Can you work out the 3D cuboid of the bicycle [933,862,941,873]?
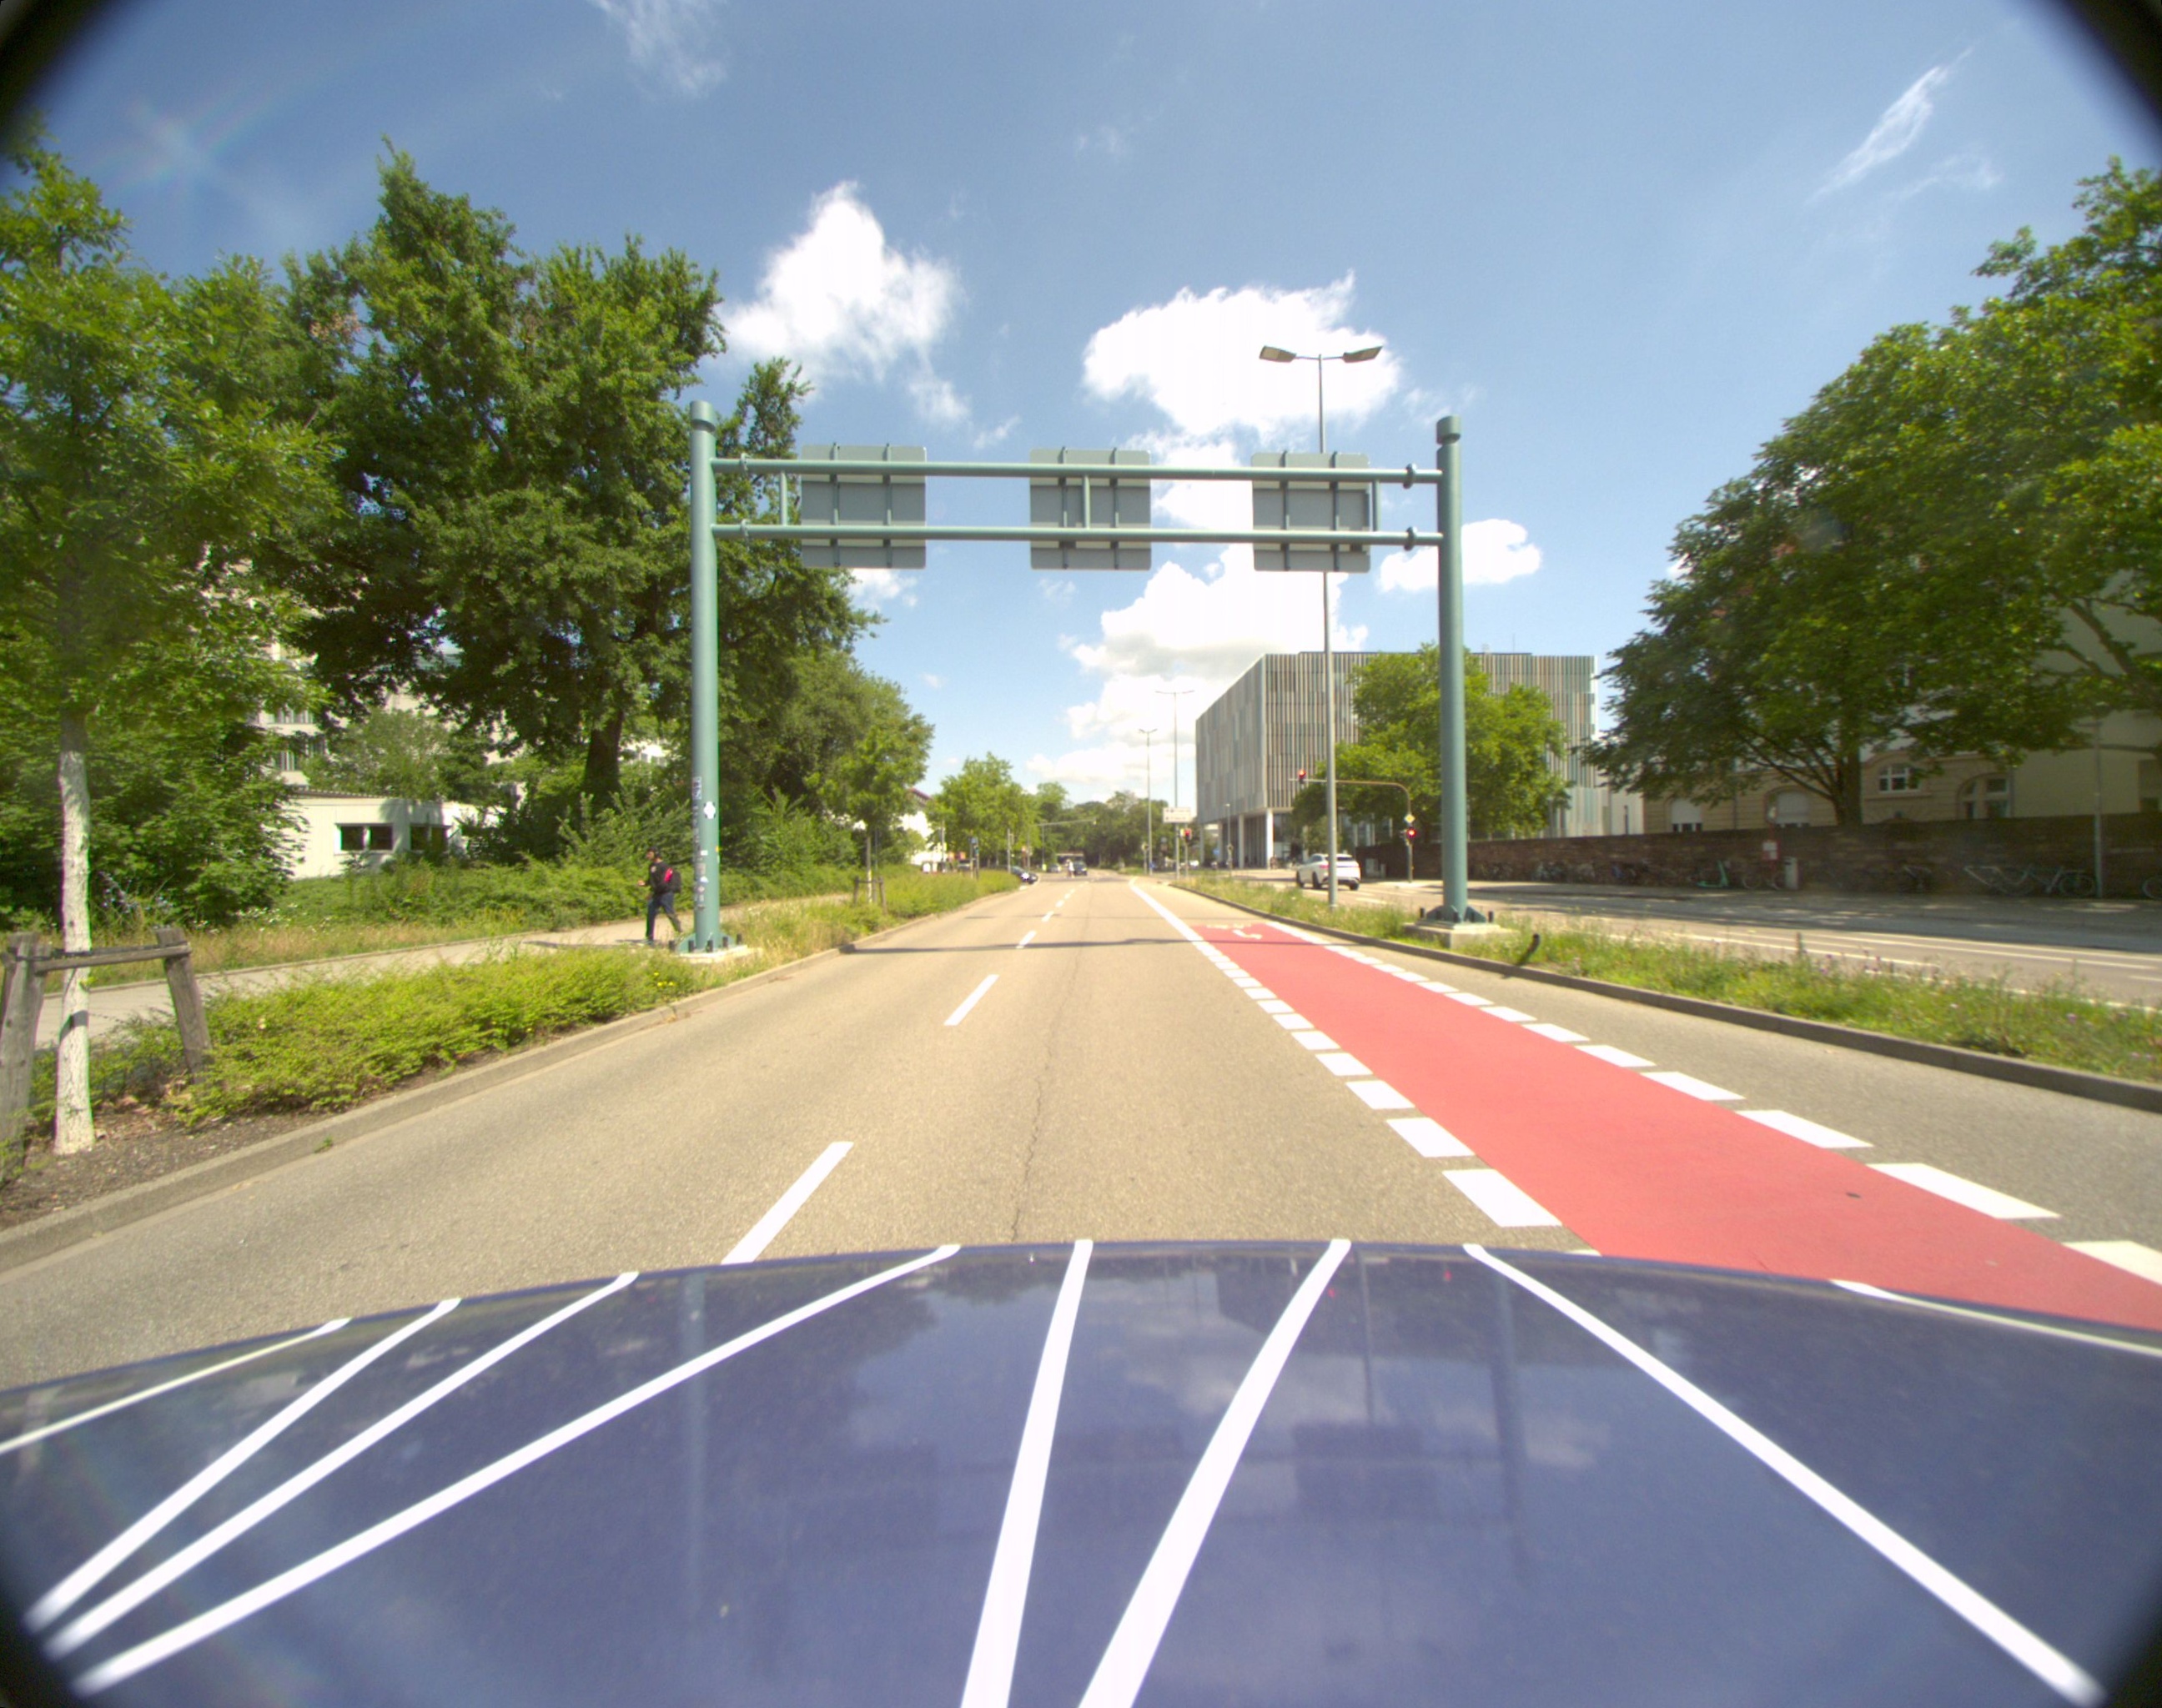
[{"bbox_3d":[-17.132,1.555,90.528,0.885,1.244,2.163,-1,0,-9],"label":"bicycle"}]

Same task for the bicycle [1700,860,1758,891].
[{"bbox_3d":[24.587,0.793,28.856,0.534,1.145,1.591,-1,0,-21],"label":"bicycle"}]

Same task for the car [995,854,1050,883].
[{"bbox_3d":[-4.329,1.050,55.815,2.004,2.002,3.989,-1,0,-42],"label":"car"}]

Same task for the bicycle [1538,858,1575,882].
[{"bbox_3d":[23.186,0.777,37.082,0.403,1.145,1.591,-1,0,-22],"label":"bicycle"}]

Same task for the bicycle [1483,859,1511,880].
[{"bbox_3d":[22.824,0.846,41.752,0.500,1.145,1.593,-1,0,-8],"label":"bicycle"}]

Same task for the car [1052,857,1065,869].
[{"bbox_3d":[-3.515,1.442,119.525,1.913,1.772,3.999,-1,0,-3],"label":"car"}]

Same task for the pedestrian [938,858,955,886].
[{"bbox_3d":[-8.379,1.118,47.388,0.815,1.711,0.929,-1,0,2],"label":"pedestrian"}]

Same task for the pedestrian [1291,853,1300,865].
[{"bbox_3d":[30.752,0.678,108.992,1.012,1.697,1.212,-1,0,21],"label":"pedestrian"}]

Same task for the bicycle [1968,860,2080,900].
[{"bbox_3d":[25.944,0.695,20.954,0.545,1.041,1.894,-1,0,-11],"label":"bicycle"}]

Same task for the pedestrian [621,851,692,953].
[{"bbox_3d":[-7.404,0.817,13.281,0.718,1.711,0.837,-1,0,2],"label":"pedestrian"}]

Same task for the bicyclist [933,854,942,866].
[{"bbox_3d":[-17.126,0.742,90.526,0.972,1.436,1.076,-1,0,-9],"label":"bicyclist"}]

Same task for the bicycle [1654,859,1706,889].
[{"bbox_3d":[24.111,0.787,30.597,0.534,1.145,1.591,-1,0,-21],"label":"bicycle"}]

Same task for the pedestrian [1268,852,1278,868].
[{"bbox_3d":[23.322,0.720,92.413,0.969,1.914,0.880,-1,0,30],"label":"pedestrian"}]

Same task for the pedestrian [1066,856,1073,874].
[{"bbox_3d":[-1.190,1.153,78.558,0.646,1.815,0.689,-1,0,1],"label":"pedestrian"}]

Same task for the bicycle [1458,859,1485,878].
[{"bbox_3d":[22.571,0.846,43.928,0.573,1.092,1.593,-1,0,-8],"label":"bicycle"}]

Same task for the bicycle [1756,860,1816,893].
[{"bbox_3d":[24.950,0.792,26.934,0.433,1.136,1.593,-1,0,-12],"label":"bicycle"}]

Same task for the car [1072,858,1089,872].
[{"bbox_3d":[-0.030,1.289,88.183,1.846,1.593,3.999,-1,0,-2],"label":"car"}]

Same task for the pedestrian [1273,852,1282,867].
[{"bbox_3d":[24.646,0.673,95.324,0.969,1.914,0.880,-1,0,27],"label":"pedestrian"}]

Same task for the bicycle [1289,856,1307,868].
[{"bbox_3d":[27.398,1.028,95.990,2.693,1.485,0.930,-1,0,-44],"label":"bicycle"}]

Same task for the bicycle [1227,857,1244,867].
[{"bbox_3d":[24.021,1.193,118.337,2.451,1.486,0.621,-1,0,1],"label":"bicycle"}]

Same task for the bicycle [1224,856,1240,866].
[{"bbox_3d":[24.471,1.150,122.922,2.511,1.486,0.621,-1,0,1],"label":"bicycle"}]

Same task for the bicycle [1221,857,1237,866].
[{"bbox_3d":[23.727,1.168,122.025,2.511,1.486,0.621,-1,0,1],"label":"bicycle"}]

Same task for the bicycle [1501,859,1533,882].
[{"bbox_3d":[22.979,0.852,40.100,0.623,1.145,1.593,-1,0,-8],"label":"bicycle"}]

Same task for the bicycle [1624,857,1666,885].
[{"bbox_3d":[24.004,0.723,32.377,0.403,1.145,1.593,-1,0,-11],"label":"bicycle"}]

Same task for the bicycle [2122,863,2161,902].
[{"bbox_3d":[26.436,0.695,18.223,0.545,0.944,1.664,-1,0,-11],"label":"bicycle"}]

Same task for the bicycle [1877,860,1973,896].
[{"bbox_3d":[25.610,0.707,23.110,0.545,1.041,1.948,-1,0,-11],"label":"bicycle"}]

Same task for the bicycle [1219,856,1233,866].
[{"bbox_3d":[23.882,1.142,125.121,2.200,1.486,0.621,-1,0,1],"label":"bicycle"}]

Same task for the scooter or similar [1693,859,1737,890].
[{"bbox_3d":[23.906,0.756,28.658,0.433,1.145,1.191,-1,0,-20],"label":"scooter or similar"}]

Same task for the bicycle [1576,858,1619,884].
[{"bbox_3d":[23.466,0.779,34.564,0.403,1.145,1.590,-1,0,-32],"label":"bicycle"}]

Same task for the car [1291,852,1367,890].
[{"bbox_3d":[11.487,0.754,35.544,2.076,1.657,4.776,-1,0,2],"label":"car"}]

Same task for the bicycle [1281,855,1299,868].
[{"bbox_3d":[26.631,0.951,96.724,0.808,1.634,3.422,-1,0,42],"label":"bicycle"}]

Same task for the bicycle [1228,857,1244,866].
[{"bbox_3d":[24.309,1.180,119.342,2.509,1.486,0.730,-1,0,10],"label":"bicycle"}]

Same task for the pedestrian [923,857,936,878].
[{"bbox_3d":[-13.648,1.201,68.520,0.878,1.861,0.972,-1,0,7],"label":"pedestrian"}]

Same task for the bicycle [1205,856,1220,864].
[{"bbox_3d":[23.251,1.083,134.022,2.511,1.486,0.621,-1,0,1],"label":"bicycle"}]

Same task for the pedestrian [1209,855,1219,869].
[{"bbox_3d":[16.260,0.955,92.976,0.972,1.619,0.878,-1,0,-9],"label":"pedestrian"}]

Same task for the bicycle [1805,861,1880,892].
[{"bbox_3d":[25.245,0.724,25.230,0.482,1.002,1.800,-1,0,-8],"label":"bicycle"}]

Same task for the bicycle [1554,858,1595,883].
[{"bbox_3d":[23.244,0.773,35.809,0.403,1.145,1.590,-1,0,-32],"label":"bicycle"}]

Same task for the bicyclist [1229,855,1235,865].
[{"bbox_3d":[19.048,0.783,95.737,0.618,1.219,0.834,-1,0,7],"label":"bicyclist"}]

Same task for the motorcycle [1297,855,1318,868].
[{"bbox_3d":[28.361,0.915,95.036,0.969,1.630,3.305,-1,0,45],"label":"motorcycle"}]

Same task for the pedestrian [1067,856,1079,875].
[{"bbox_3d":[-0.829,1.147,77.437,1.108,1.914,0.972,-1,0,5],"label":"pedestrian"}]

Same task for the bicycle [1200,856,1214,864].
[{"bbox_3d":[23.148,1.041,139.530,2.511,1.486,0.621,-1,0,1],"label":"bicycle"}]

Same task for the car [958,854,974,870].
[{"bbox_3d":[-15.787,1.094,104.393,2.000,2.042,4.226,-1,0,-8],"label":"car"}]

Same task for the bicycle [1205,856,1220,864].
[{"bbox_3d":[23.344,1.073,135.135,2.511,1.486,0.621,-1,0,1],"label":"bicycle"}]

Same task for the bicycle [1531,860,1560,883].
[{"bbox_3d":[23.389,0.881,38.284,0.413,1.145,1.593,-1,0,-5],"label":"bicycle"}]

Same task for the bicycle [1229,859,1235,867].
[{"bbox_3d":[19.056,1.159,95.866,0.646,0.992,2.164,-1,0,6],"label":"bicycle"}]

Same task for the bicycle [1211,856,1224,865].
[{"bbox_3d":[23.663,1.096,131.457,2.071,1.486,0.621,-1,0,1],"label":"bicycle"}]

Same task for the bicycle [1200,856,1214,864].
[{"bbox_3d":[23.038,1.049,138.830,2.511,1.486,0.621,-1,0,1],"label":"bicycle"}]

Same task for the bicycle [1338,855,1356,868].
[{"bbox_3d":[31.972,0.868,91.222,0.997,1.543,3.422,-1,0,37],"label":"bicycle"}]
